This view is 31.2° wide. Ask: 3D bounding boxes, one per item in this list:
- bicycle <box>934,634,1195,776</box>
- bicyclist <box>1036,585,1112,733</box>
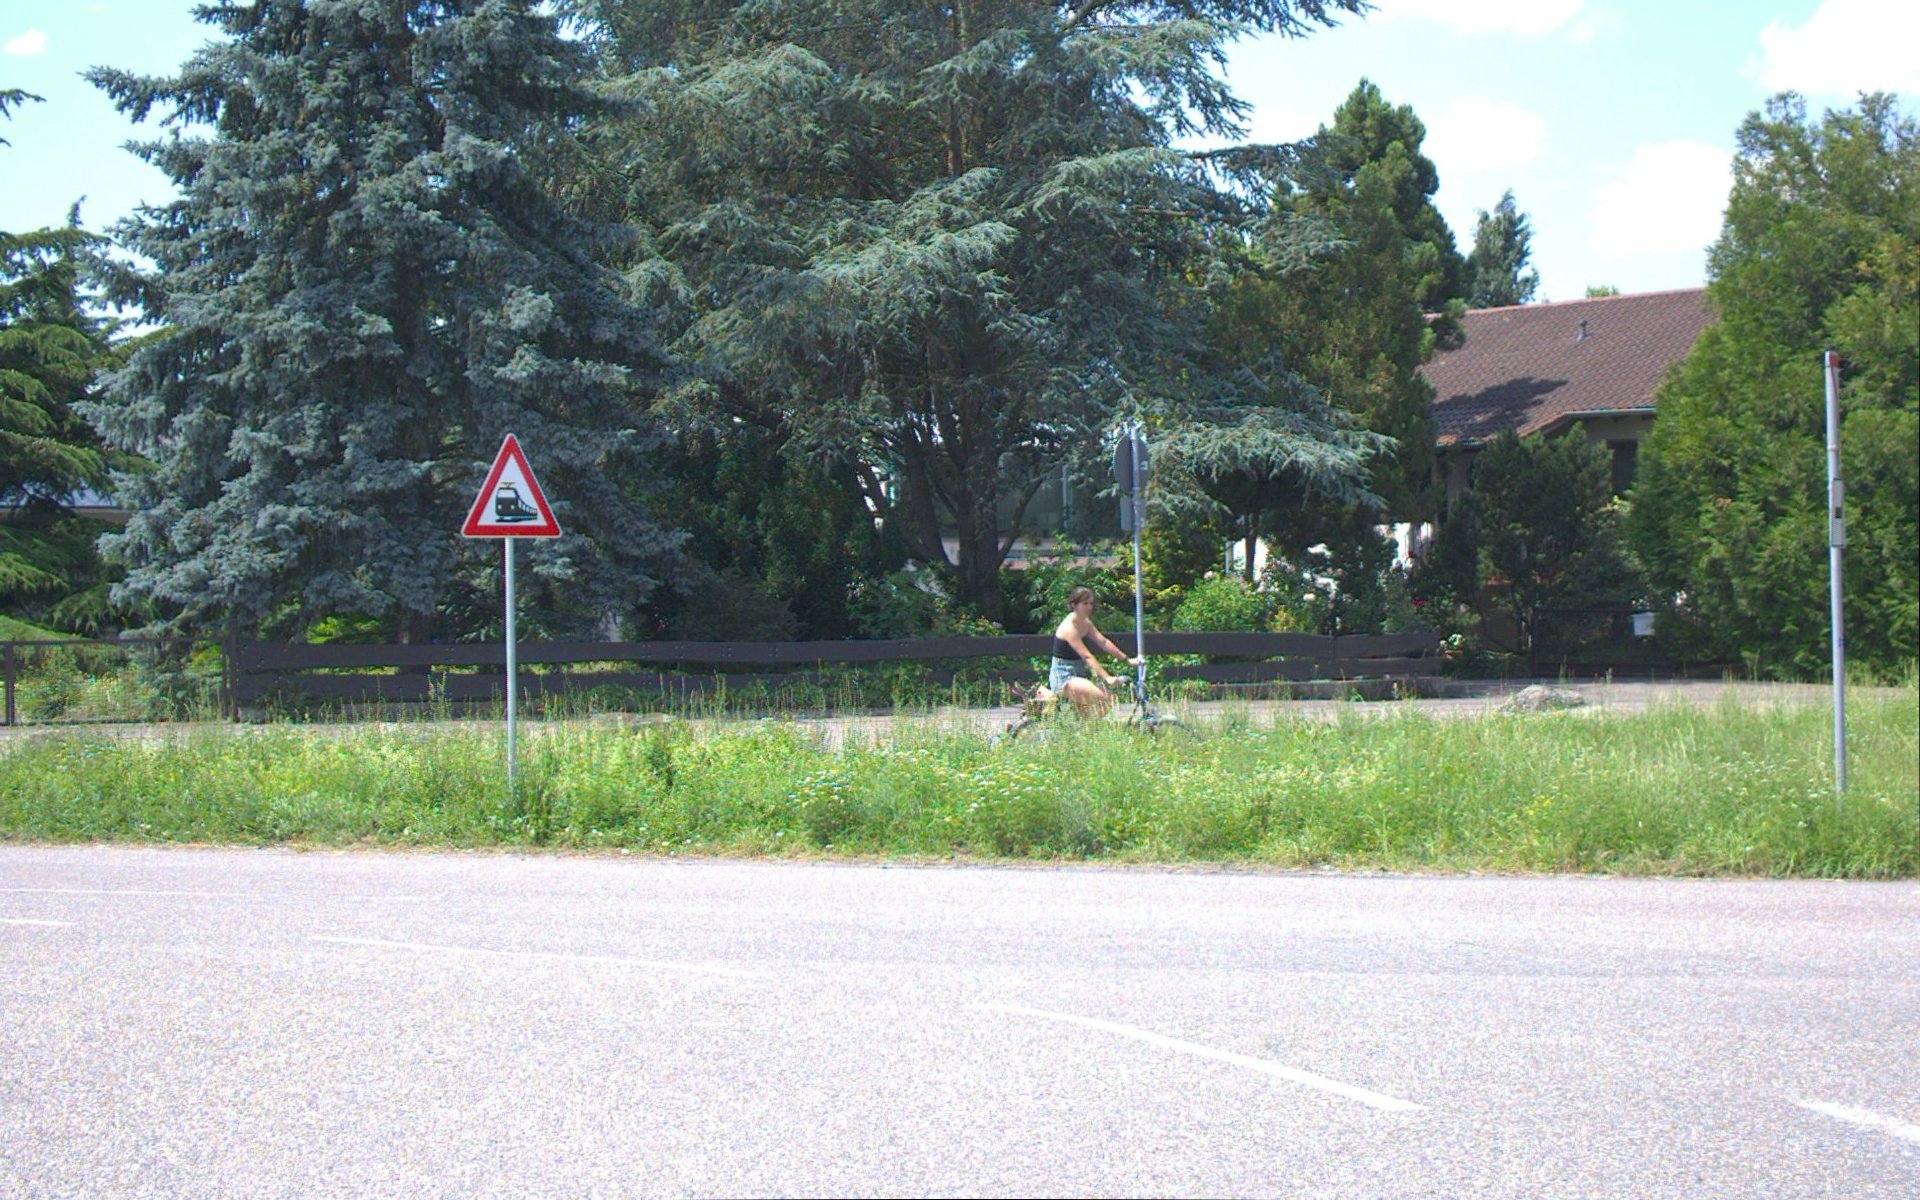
[{"bbox_3d":[0.892,0.886,29.429,2.142,1.161,0.660,0,1,24],"label":"bicycle"},{"bbox_3d":[0.978,0.495,29.386,0.510,1.251,0.469,0,0,23],"label":"bicyclist"}]
